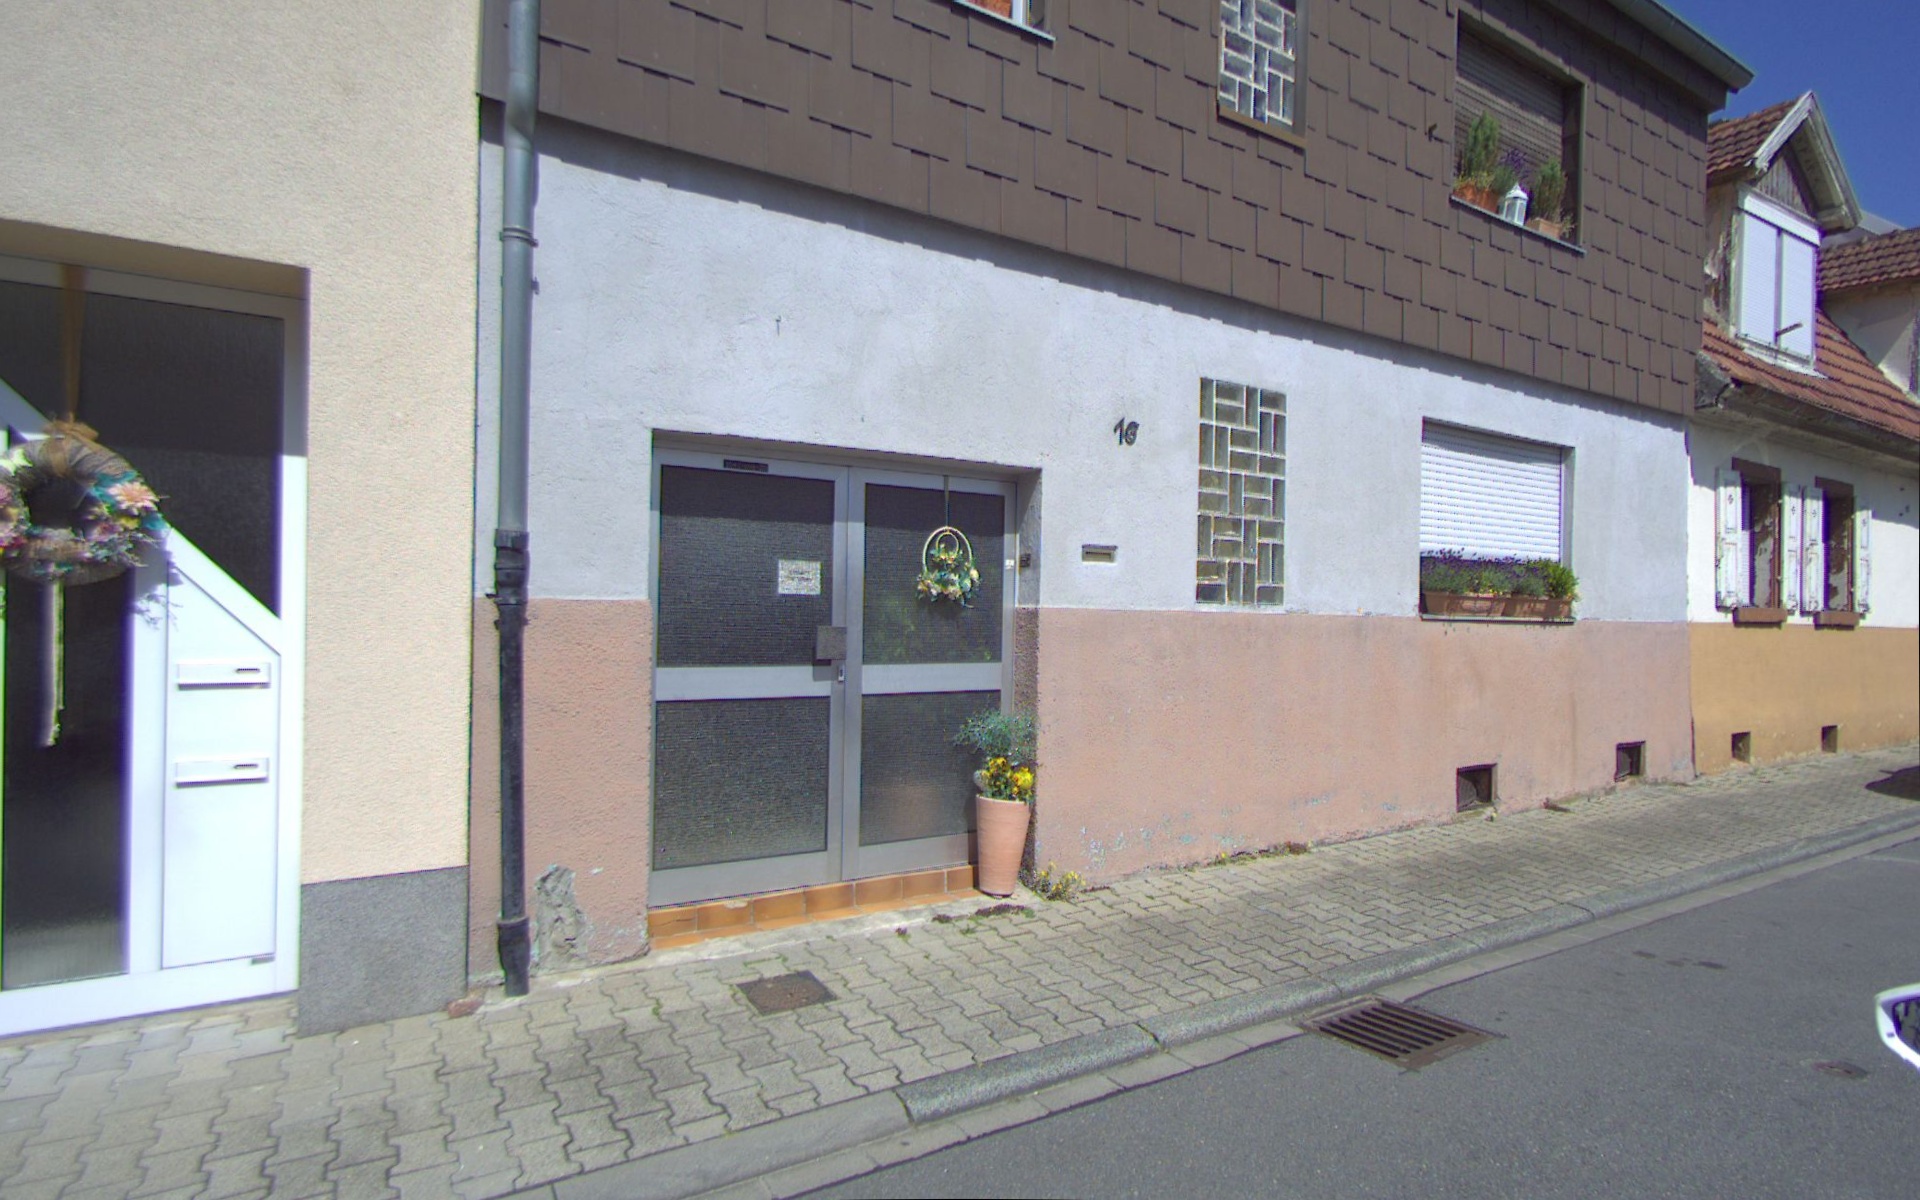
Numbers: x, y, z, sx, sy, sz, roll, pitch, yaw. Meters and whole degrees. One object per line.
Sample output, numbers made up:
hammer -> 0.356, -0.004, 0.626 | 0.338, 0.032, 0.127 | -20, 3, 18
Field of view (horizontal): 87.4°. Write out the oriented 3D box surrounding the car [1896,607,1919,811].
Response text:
car -> 9.824, 0.889, 8.324 | 4.560, 1.595, 1.791 | 2, -2, -30
